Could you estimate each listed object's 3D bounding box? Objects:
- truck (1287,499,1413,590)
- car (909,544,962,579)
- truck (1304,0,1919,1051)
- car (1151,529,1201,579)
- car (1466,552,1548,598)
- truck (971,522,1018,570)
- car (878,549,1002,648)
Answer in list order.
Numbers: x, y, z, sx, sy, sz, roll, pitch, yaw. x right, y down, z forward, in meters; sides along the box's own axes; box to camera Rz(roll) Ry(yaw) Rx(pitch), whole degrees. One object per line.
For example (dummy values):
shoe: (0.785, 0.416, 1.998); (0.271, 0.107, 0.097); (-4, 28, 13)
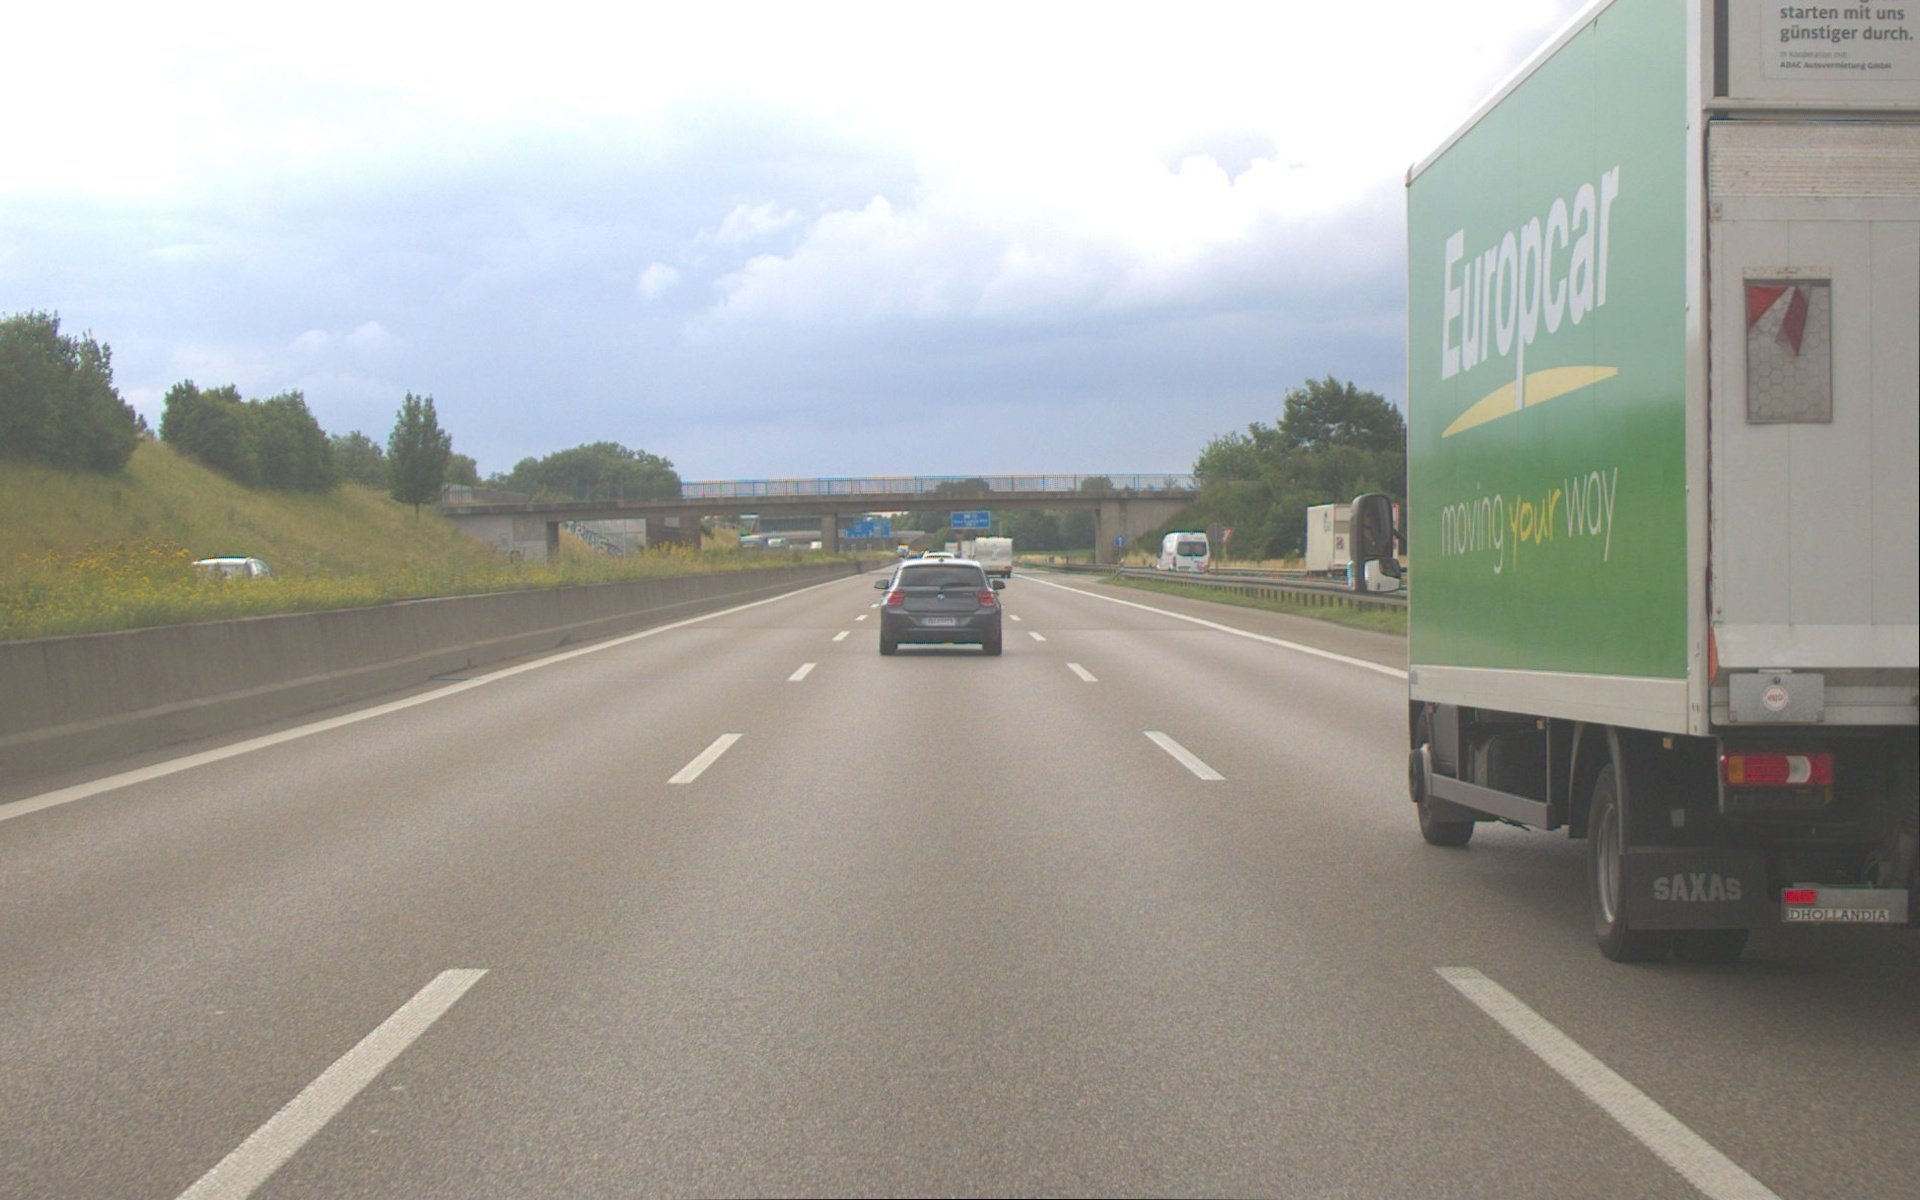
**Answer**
truck: (15.492, -2.205, 137.283); (3.104, 3.459, 8.893); (1, 1, -6)
car: (-0.955, -1.487, 133.822); (1.993, 1.294, 4.000); (-1, 1, -1)
truck: (3.332, -0.515, 14.439); (2.770, 3.492, 9.062); (1, 1, 0)
car: (11.370, -2.428, 181.481); (2.221, 2.559, 6.256); (0, 1, 0)
car: (19.344, -0.911, 121.833); (1.917, 1.545, 4.924); (-1, 1, -2)
truck: (2.146, -3.446, 220.052); (2.710, 2.954, 12.447); (1, 1, -1)
car: (-0.299, -0.045, 50.896); (1.743, 1.384, 4.000); (1, 1, 0)
